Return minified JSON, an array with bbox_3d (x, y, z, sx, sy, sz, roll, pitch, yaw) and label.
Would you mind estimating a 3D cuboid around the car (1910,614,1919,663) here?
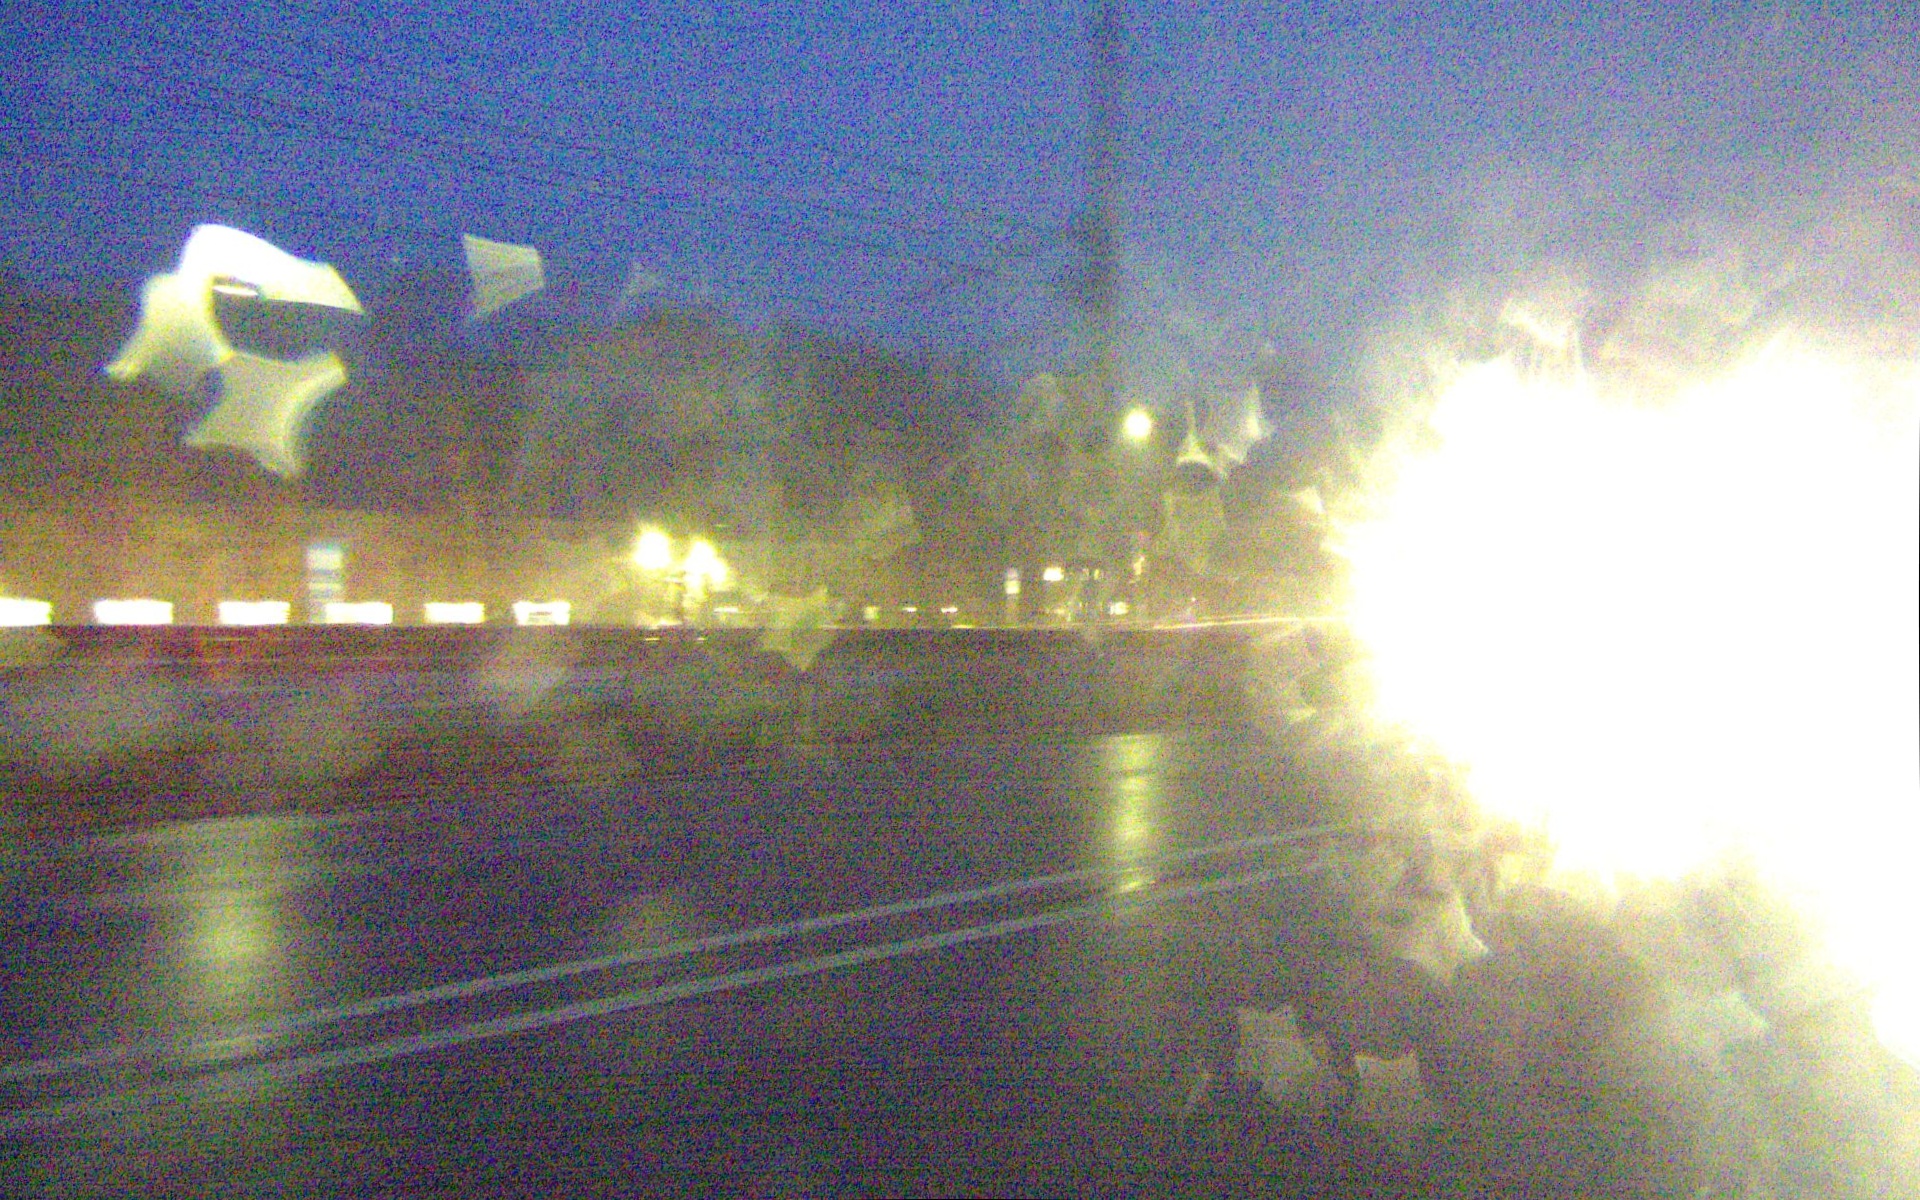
[{"bbox_3d":[33.330,1.320,33.640,3.999,1.609,1.786,1,1,-41],"label":"car"}]
